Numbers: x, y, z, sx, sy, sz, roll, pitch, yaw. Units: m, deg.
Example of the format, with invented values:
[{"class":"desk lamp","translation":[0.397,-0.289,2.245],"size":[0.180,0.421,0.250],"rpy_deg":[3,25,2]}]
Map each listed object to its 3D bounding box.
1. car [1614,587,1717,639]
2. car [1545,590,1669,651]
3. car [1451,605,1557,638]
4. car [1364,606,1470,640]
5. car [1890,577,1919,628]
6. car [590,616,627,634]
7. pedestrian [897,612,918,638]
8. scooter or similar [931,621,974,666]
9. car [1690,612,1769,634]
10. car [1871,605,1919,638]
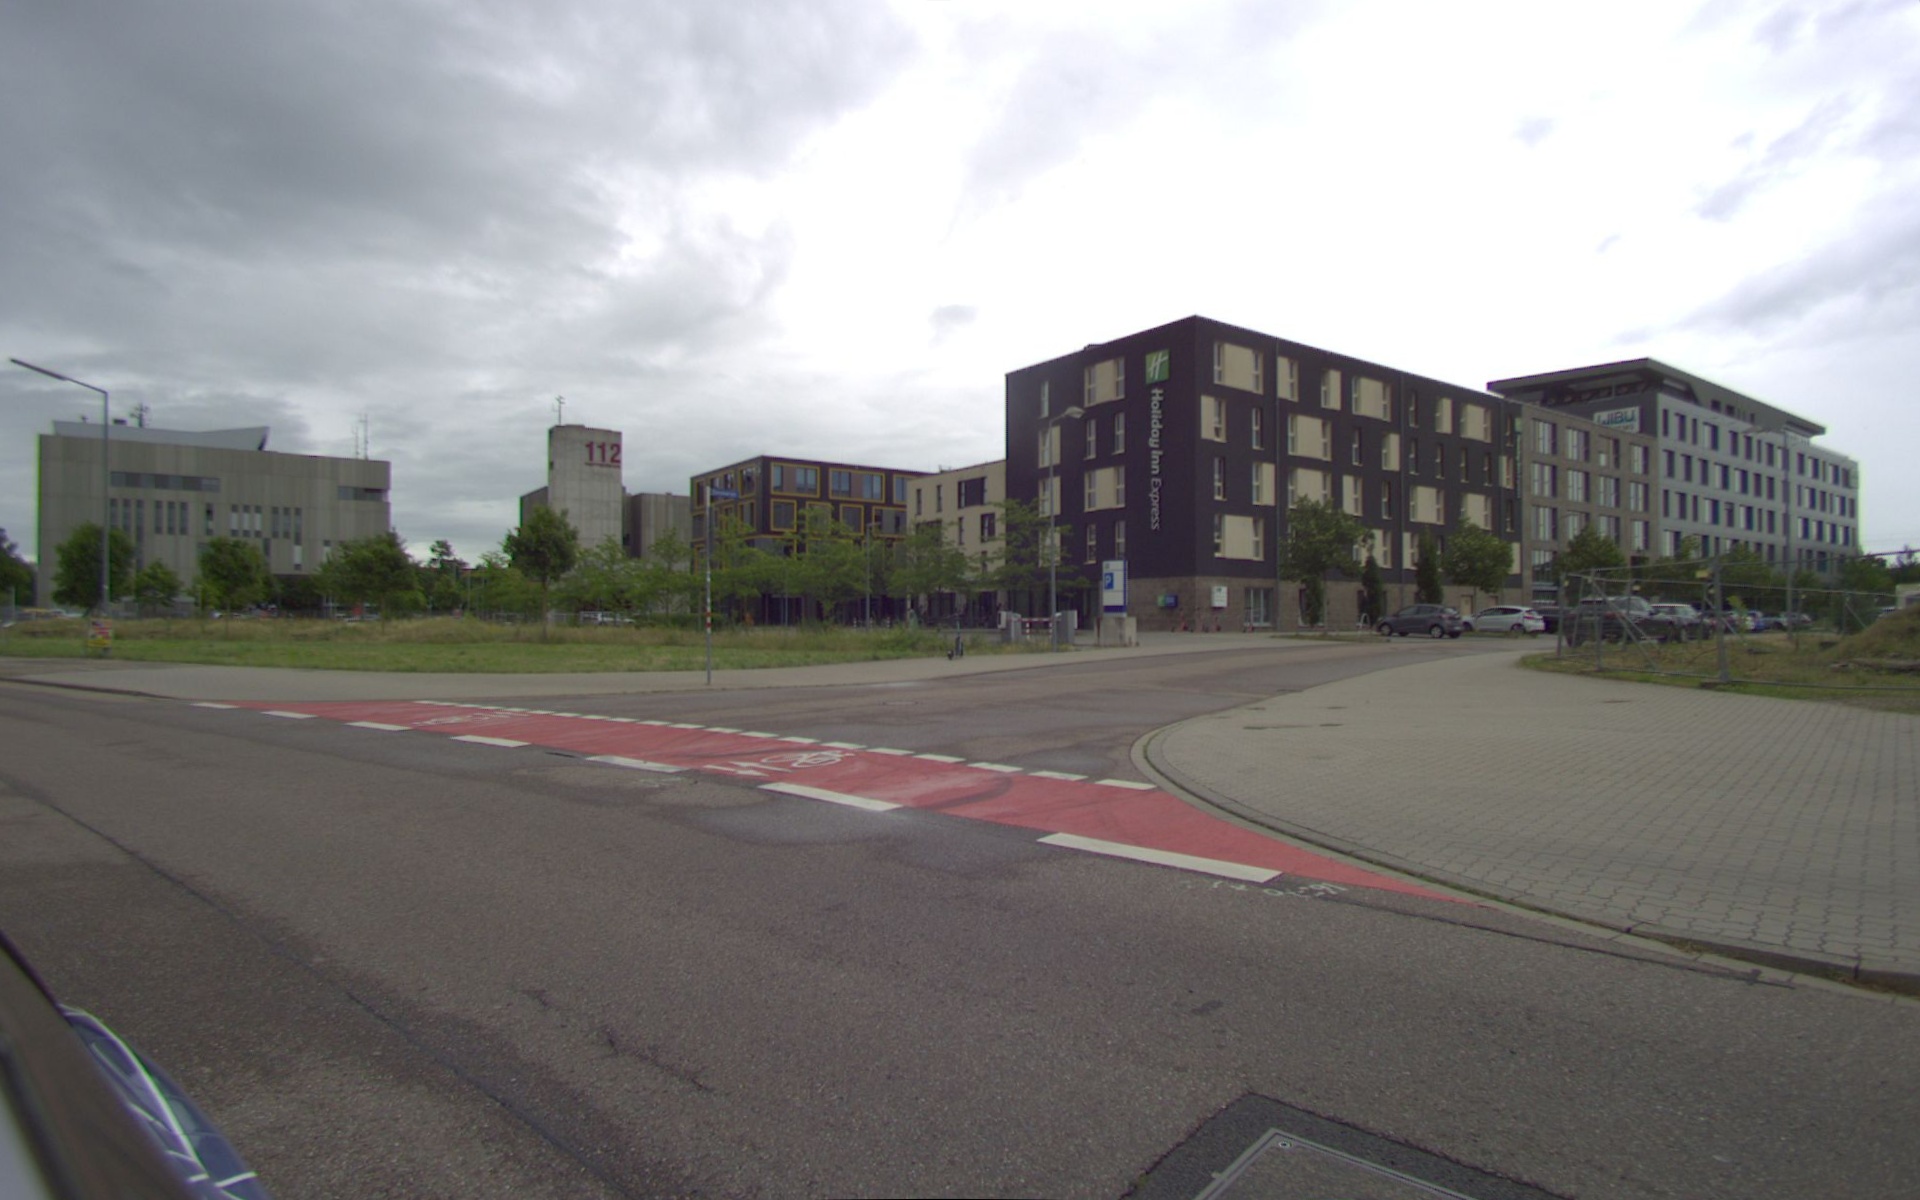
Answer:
[{"class":"car","translation":[25.163,0.470,36.075],"size":[3.615,1.766,1.810],"rpy_deg":[0,-2,-35]},{"class":"car","translation":[20.913,0.648,32.688],"size":[3.934,1.837,2.005],"rpy_deg":[0,-2,-36]},{"class":"car","translation":[26.613,1.062,49.554],"size":[1.970,1.529,4.156],"rpy_deg":[0,-2,-44]},{"class":"car","translation":[20.521,1.037,45.543],"size":[1.671,1.453,4.008],"rpy_deg":[0,-2,-38]},{"class":"car","translation":[58.772,0.154,60.960],"size":[6.468,2.979,2.721],"rpy_deg":[0,-2,-36]},{"class":"car","translation":[-33.112,2.358,95.277],"size":[1.969,1.535,4.005],"rpy_deg":[2,-4,-41]},{"class":"pedestrian","translation":[-3.236,1.530,62.841],"size":[0.874,1.583,0.942],"rpy_deg":[-2,-2,36]},{"class":"scooter or similar","translation":[-0.193,1.203,28.168],"size":[0.569,1.177,1.454],"rpy_deg":[-1,0,28]},{"class":"car","translation":[52.239,1.557,68.761],"size":[1.717,1.469,4.007],"rpy_deg":[1,-2,-39]},{"class":"car","translation":[52.381,1.191,56.068],"size":[3.934,1.760,2.004],"rpy_deg":[0,-2,-36]}]
